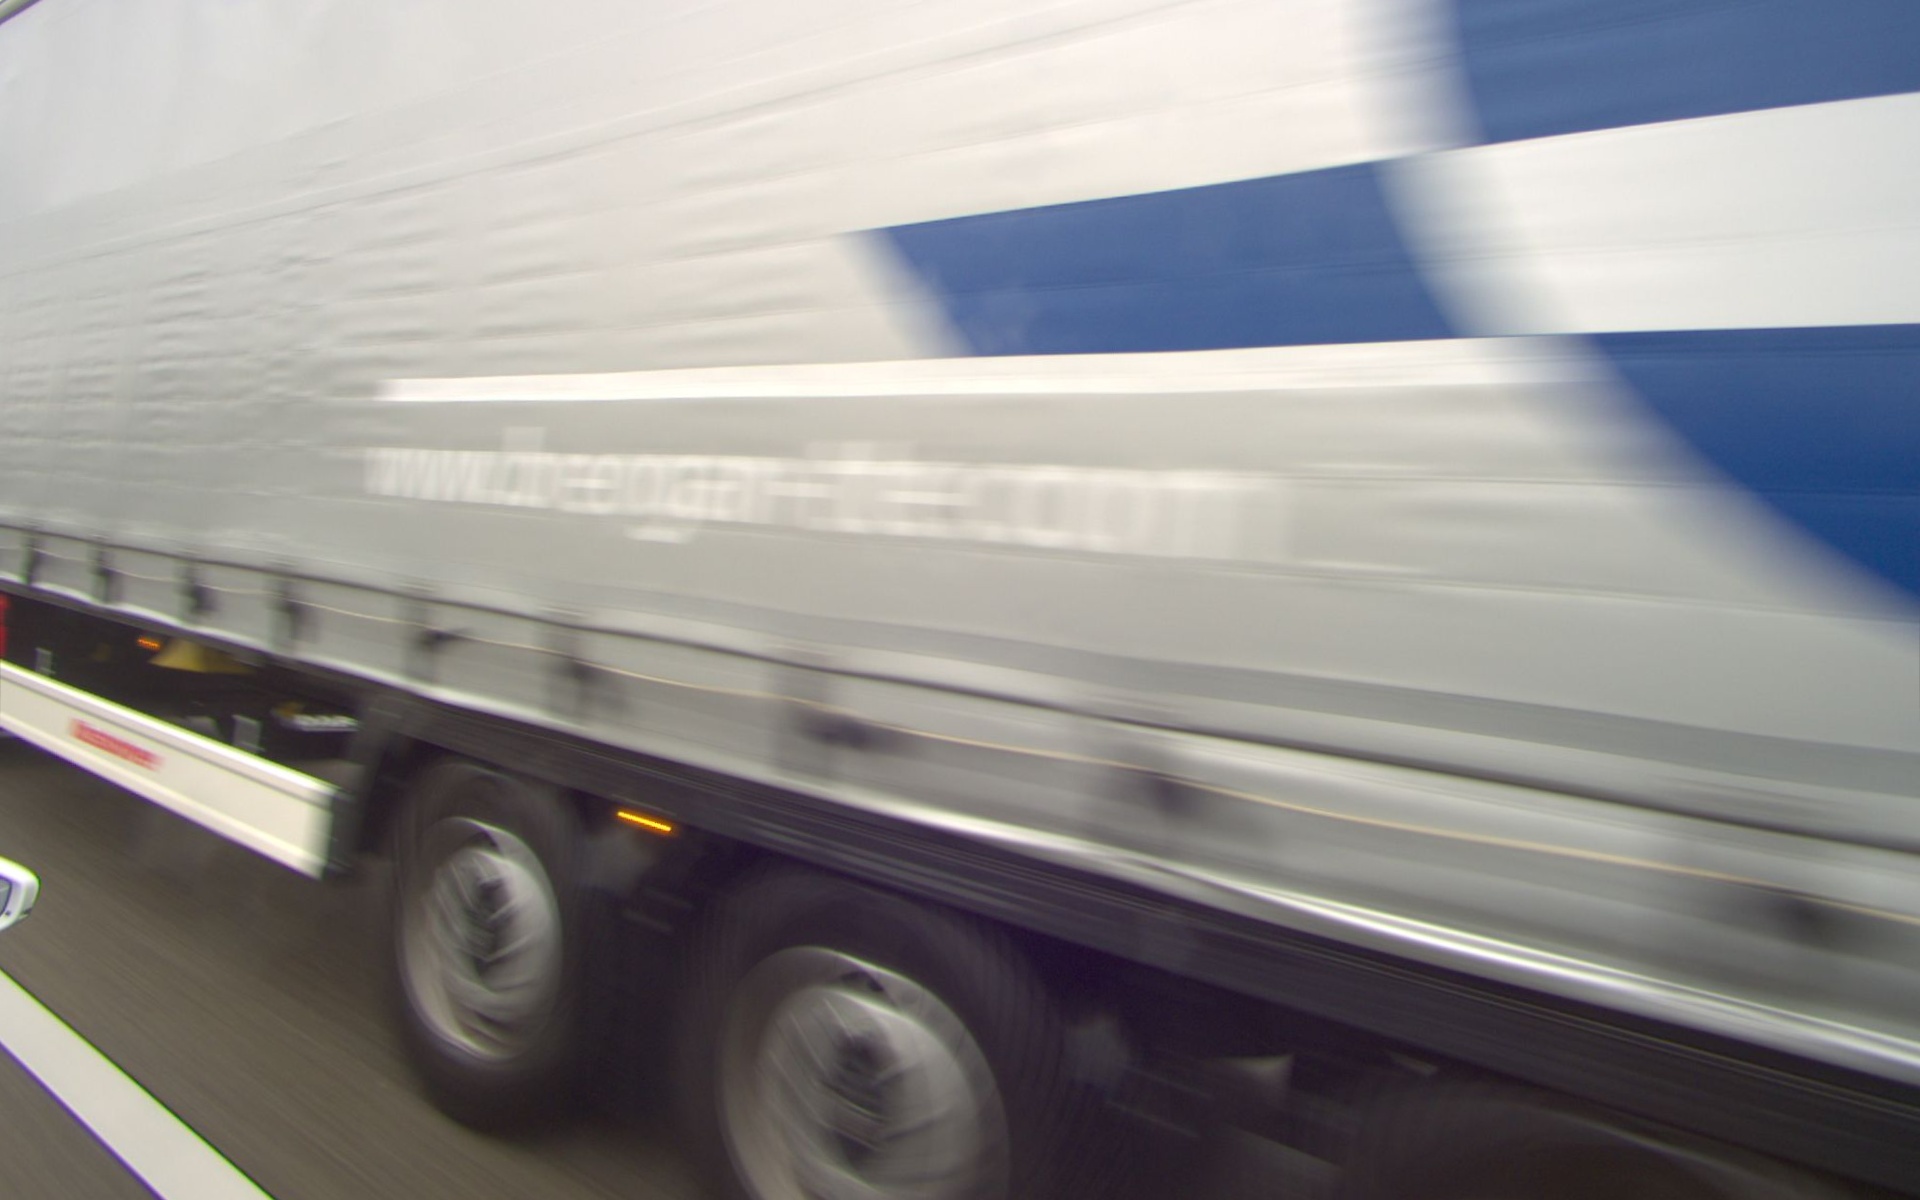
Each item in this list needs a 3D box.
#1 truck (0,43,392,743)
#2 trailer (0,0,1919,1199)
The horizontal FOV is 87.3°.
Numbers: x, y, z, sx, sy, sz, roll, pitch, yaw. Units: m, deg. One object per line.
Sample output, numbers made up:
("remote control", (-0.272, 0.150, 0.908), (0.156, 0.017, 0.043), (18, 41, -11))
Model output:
("truck", (-7.728, -1.371, 8.085), (5.657, 4.088, 2.726), (6, -1, 32))
("trailer", (-1.951, -0.743, 4.453), (13.478, 4.088, 2.684), (6, -1, 32))
